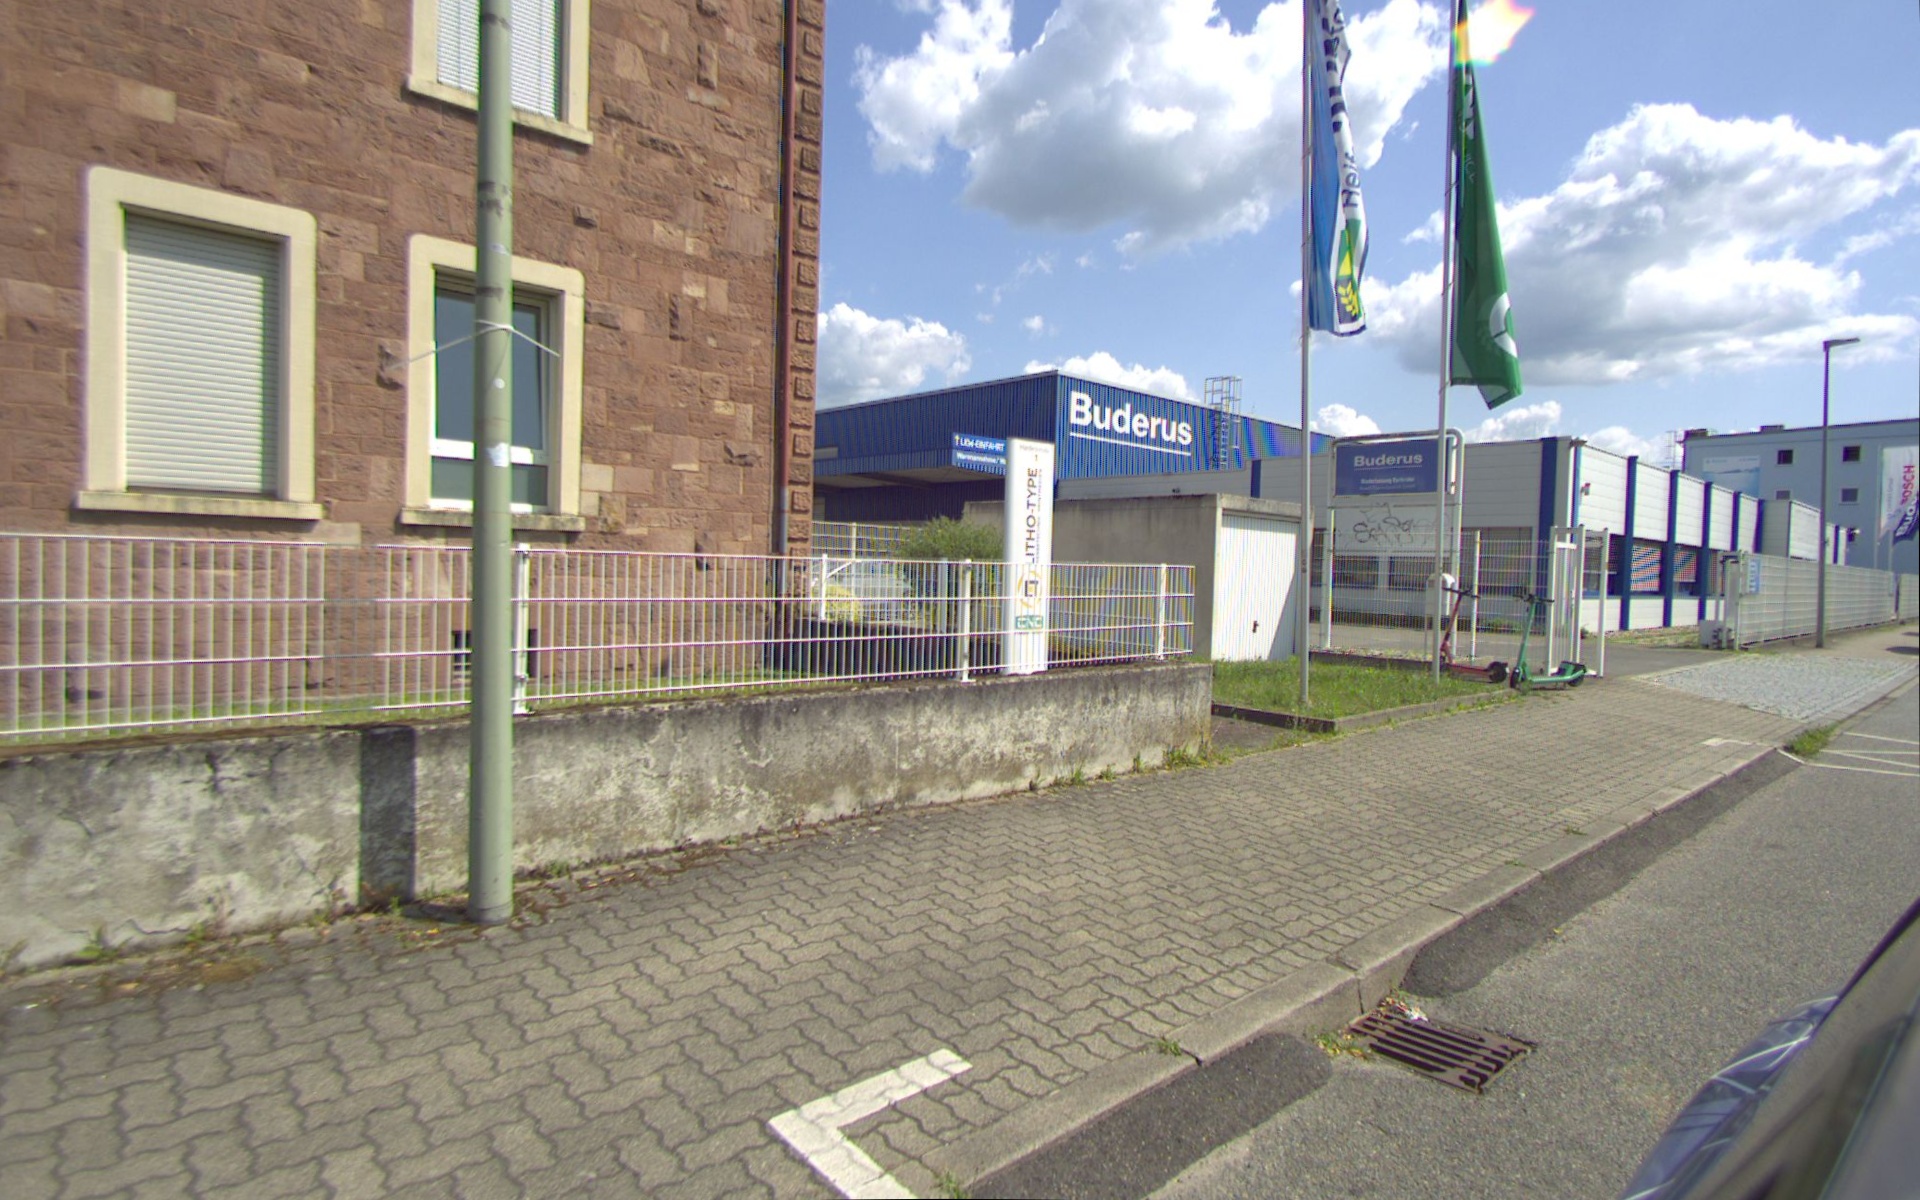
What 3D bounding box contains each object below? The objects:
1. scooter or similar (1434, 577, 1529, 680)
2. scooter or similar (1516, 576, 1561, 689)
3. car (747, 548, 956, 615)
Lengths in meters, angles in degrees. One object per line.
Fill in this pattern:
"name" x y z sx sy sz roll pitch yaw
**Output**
"scooter or similar" 6.842 0.347 13.325 0.254 1.260 1.152 1 3 -23
"scooter or similar" 6.975 0.377 12.206 0.360 1.328 0.333 0 2 -42
"car" -2.630 -0.478 25.399 5.008 1.495 1.997 0 3 -42
